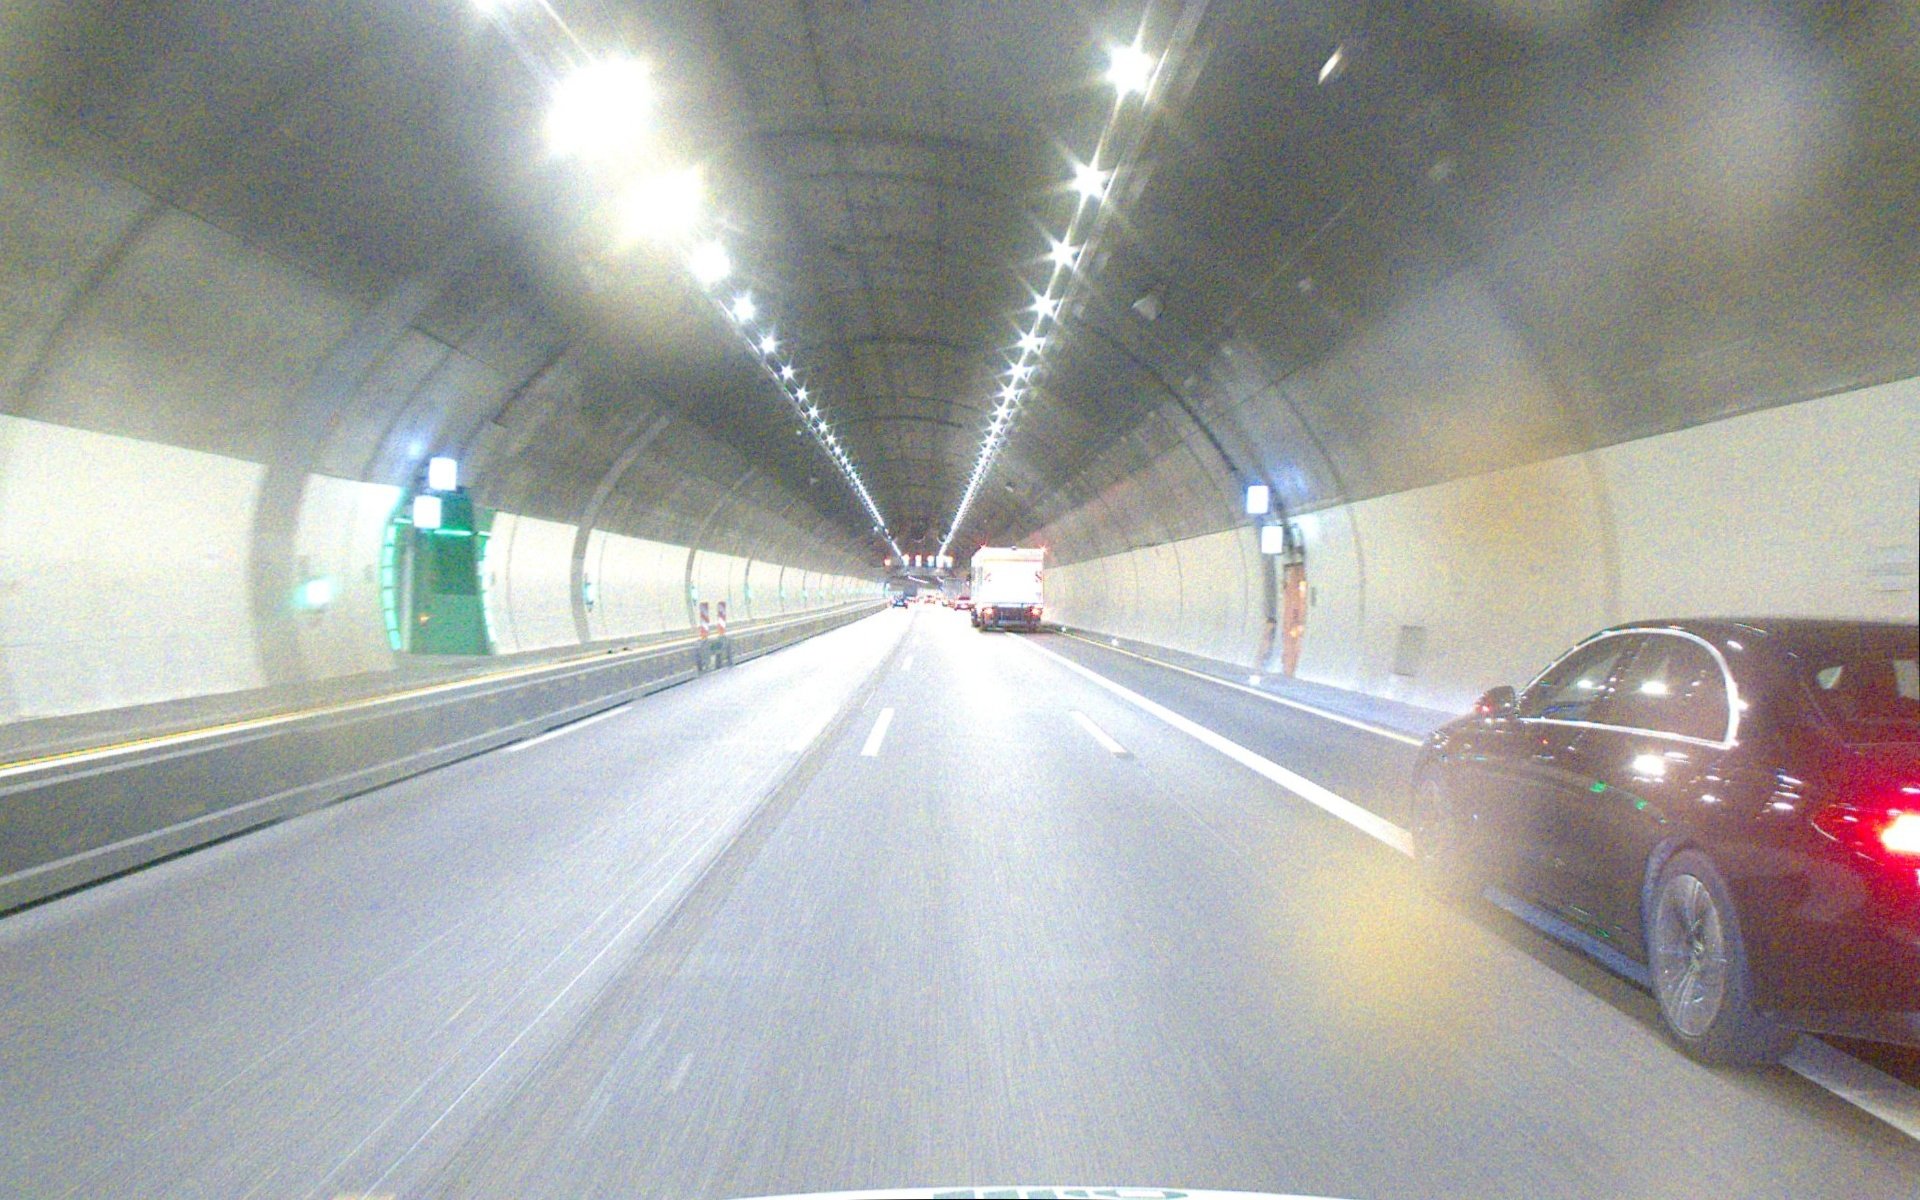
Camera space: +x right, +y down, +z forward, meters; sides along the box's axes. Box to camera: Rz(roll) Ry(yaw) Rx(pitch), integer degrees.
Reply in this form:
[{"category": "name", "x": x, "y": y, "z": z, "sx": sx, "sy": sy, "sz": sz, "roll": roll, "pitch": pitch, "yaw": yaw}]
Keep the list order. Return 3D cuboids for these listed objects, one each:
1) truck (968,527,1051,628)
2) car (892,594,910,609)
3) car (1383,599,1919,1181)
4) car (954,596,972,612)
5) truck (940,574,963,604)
[{"category": "truck", "x": 2.028, "y": -0.850, "z": 71.588, "sx": 3.029, "sy": 3.986, "sz": 10.365, "roll": 2, "pitch": -1, "yaw": -1}, {"category": "car", "x": -5.923, "y": 0.151, "z": 166.575, "sx": 1.723, "sy": 1.486, "sz": 4.118, "roll": 1, "pitch": 1, "yaw": -1}, {"category": "car", "x": 3.352, "y": 0.771, "z": 6.770, "sx": 1.886, "sy": 1.498, "sz": 4.953, "roll": 1, "pitch": 0, "yaw": -1}, {"category": "car", "x": 0.310, "y": 0.357, "z": 160.076, "sx": 1.704, "sy": 1.486, "sz": 3.960, "roll": 1, "pitch": 1, "yaw": 0}, {"category": "truck", "x": -1.211, "y": -1.569, "z": 237.911, "sx": 3.003, "sy": 3.986, "sz": 10.367, "roll": 2, "pitch": -1, "yaw": 0}]
